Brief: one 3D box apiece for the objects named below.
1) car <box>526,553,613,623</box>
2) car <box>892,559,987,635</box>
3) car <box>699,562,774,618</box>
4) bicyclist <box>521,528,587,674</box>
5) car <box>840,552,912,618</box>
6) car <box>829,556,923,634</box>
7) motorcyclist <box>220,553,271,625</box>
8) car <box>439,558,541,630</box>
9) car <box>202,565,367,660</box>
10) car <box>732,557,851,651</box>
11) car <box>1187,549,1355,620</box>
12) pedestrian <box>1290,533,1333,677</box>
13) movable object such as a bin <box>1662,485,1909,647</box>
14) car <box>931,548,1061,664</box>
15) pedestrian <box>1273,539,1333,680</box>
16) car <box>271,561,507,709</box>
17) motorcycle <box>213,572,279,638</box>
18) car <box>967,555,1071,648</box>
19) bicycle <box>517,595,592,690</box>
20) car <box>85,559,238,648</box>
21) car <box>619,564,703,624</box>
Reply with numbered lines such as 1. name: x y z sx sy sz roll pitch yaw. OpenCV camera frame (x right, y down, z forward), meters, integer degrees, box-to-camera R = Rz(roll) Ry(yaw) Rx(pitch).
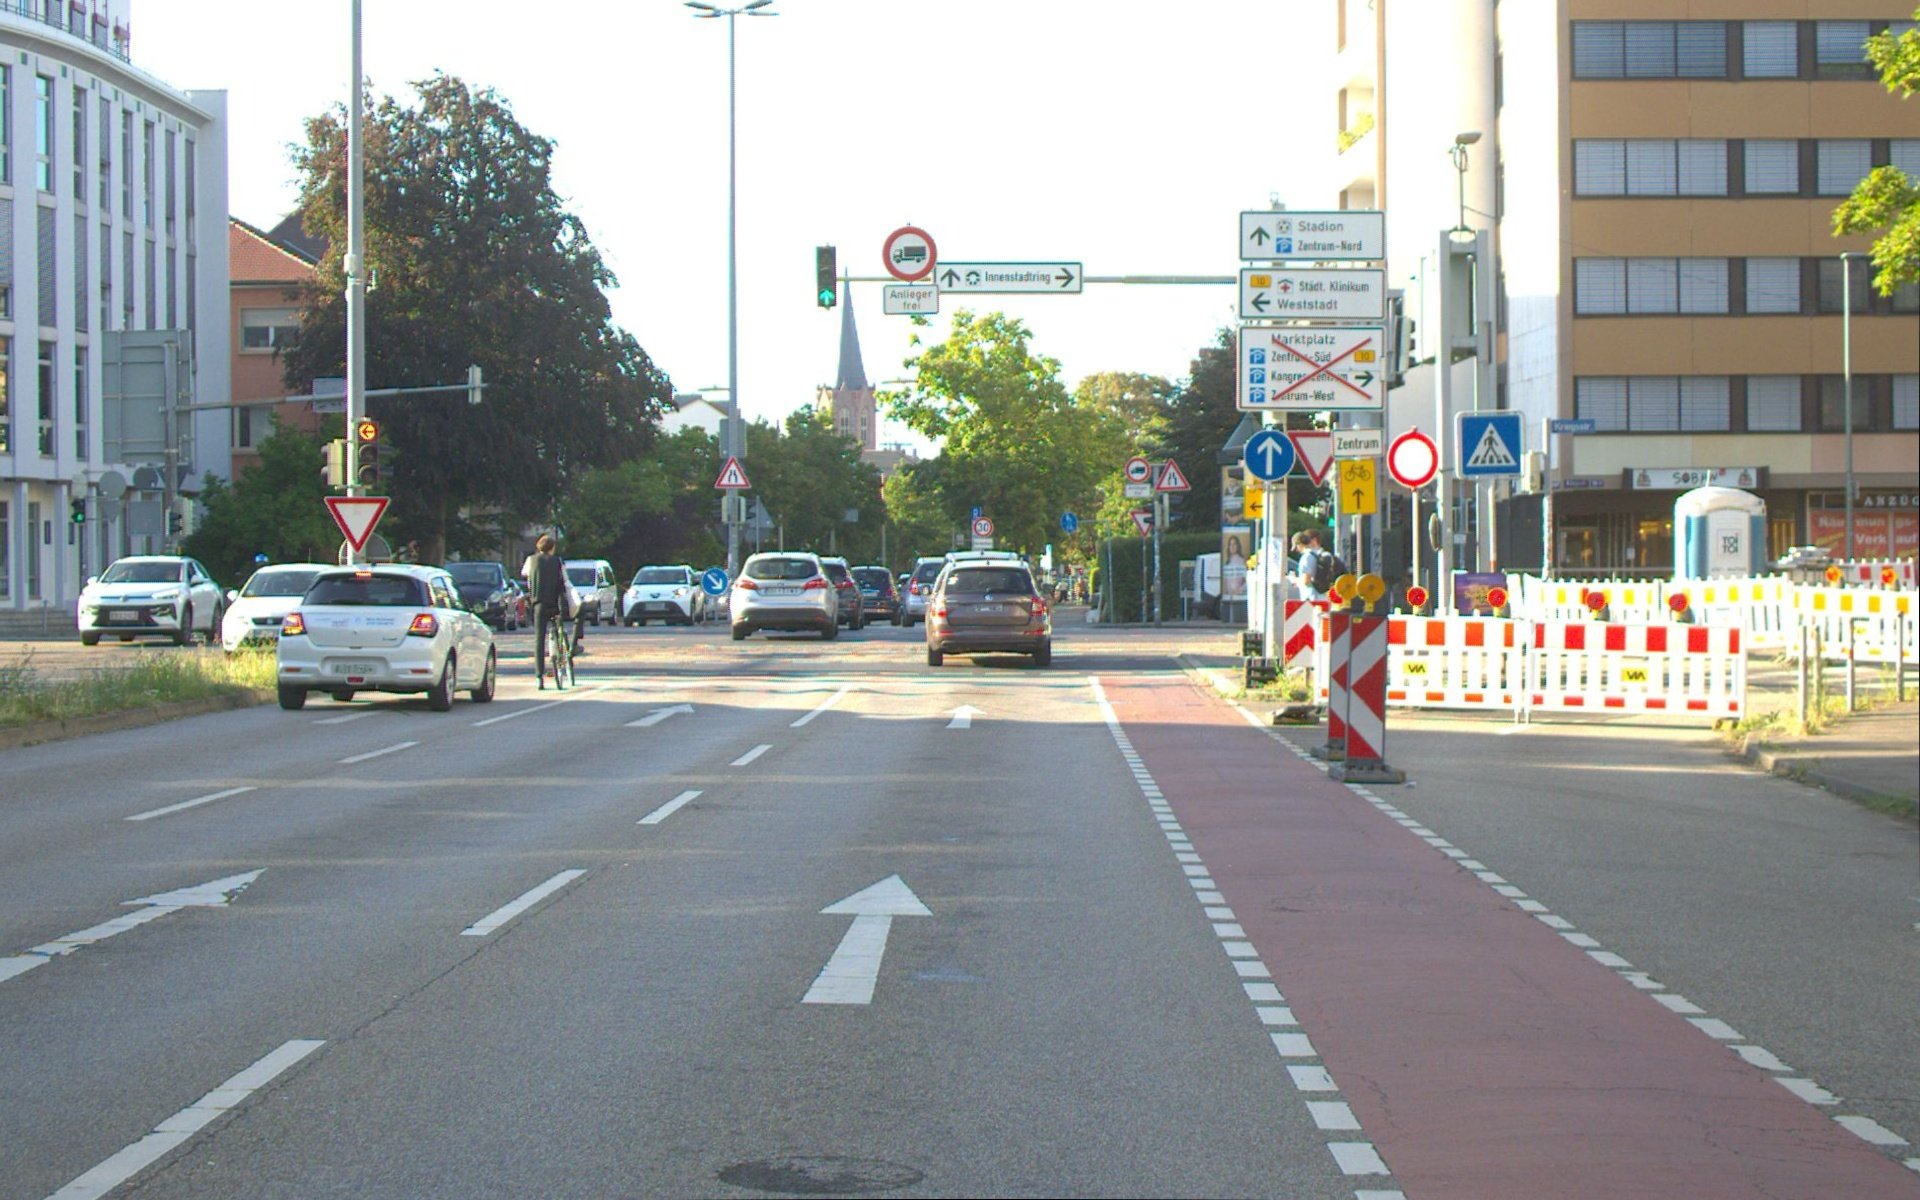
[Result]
1. car: -10.454 -0.341 92.314 1.915 1.805 4.718 0 1 -2
2. car: -0.435 -0.038 75.419 1.993 1.503 4.000 -2 -1 0
3. car: -5.961 -0.273 91.947 1.847 1.456 4.050 0 1 -2
4. bicyclist: -4.842 0.011 41.059 0.691 1.722 0.988 0 0 -2
5. car: -2.152 -0.403 89.064 1.664 1.652 4.000 0 0 2
6. car: -1.701 -0.120 70.747 1.748 1.559 4.050 0 1 1
7. motorcyclist: -14.232 -0.220 68.528 0.770 1.414 1.238 0 0 -1
8. car: -9.971 -0.145 73.191 1.658 1.489 4.000 0 1 -1
9. car: -10.375 0.169 53.043 1.685 1.387 4.181 0 1 0
10. car: -2.882 0.049 59.569 1.748 1.559 4.050 0 1 1
11. car: 8.458 -0.425 93.731 4.363 1.871 2.000 0 0 0
12. pedestrian: 4.579 0.066 44.747 0.521 1.862 0.614 0 0 8
13. movable object such as a bin: 12.356 -0.504 51.572 3.328 2.375 1.529 0 0 0
14. car: 0.536 0.065 48.443 1.748 1.559 4.050 0 1 1
15. pedestrian: 4.397 0.116 44.032 0.741 1.793 0.715 0 0 7
16. car: -5.907 0.322 35.959 1.685 1.452 4.000 0 1 2
17. motorcycle: -14.222 0.090 68.525 0.770 1.280 2.843 0 0 -1
18. car: 1.054 0.012 63.157 1.819 1.634 4.000 0 0 0
19. bicycle: -4.841 0.493 41.111 0.699 1.096 2.258 0 0 -2
20. car: -13.972 0.024 60.370 1.685 1.493 4.514 0 1 -1
21. car: -7.456 -0.169 86.072 1.847 1.456 4.050 0 1 -2
